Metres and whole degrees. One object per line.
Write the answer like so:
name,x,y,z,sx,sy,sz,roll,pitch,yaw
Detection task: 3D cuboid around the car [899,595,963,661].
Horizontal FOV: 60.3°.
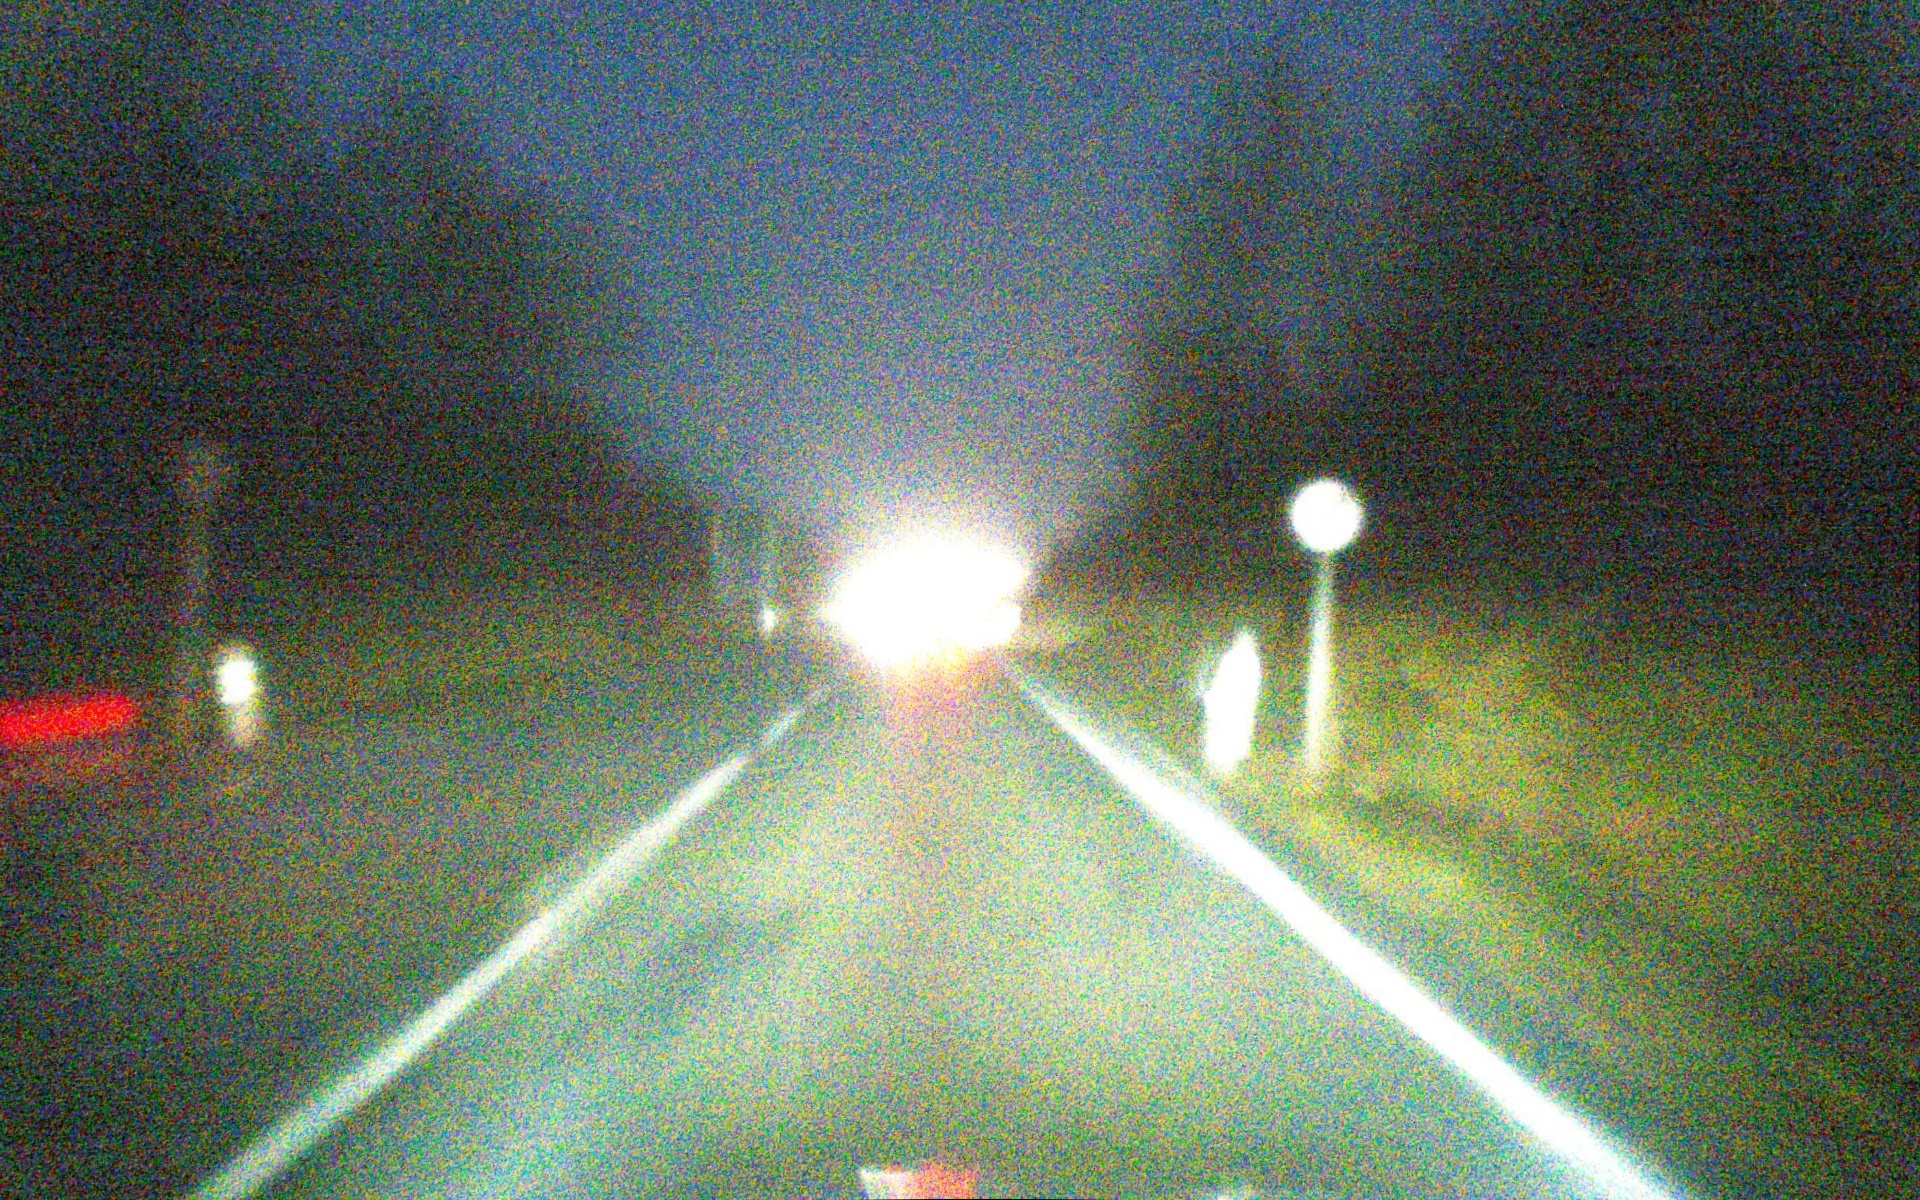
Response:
car,-0.879,0.802,49.376,1.805,1.770,3.999,1,1,-2

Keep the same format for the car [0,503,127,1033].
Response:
car,-4.112,0.546,4.292,1.907,1.758,3.999,1,0,-1
